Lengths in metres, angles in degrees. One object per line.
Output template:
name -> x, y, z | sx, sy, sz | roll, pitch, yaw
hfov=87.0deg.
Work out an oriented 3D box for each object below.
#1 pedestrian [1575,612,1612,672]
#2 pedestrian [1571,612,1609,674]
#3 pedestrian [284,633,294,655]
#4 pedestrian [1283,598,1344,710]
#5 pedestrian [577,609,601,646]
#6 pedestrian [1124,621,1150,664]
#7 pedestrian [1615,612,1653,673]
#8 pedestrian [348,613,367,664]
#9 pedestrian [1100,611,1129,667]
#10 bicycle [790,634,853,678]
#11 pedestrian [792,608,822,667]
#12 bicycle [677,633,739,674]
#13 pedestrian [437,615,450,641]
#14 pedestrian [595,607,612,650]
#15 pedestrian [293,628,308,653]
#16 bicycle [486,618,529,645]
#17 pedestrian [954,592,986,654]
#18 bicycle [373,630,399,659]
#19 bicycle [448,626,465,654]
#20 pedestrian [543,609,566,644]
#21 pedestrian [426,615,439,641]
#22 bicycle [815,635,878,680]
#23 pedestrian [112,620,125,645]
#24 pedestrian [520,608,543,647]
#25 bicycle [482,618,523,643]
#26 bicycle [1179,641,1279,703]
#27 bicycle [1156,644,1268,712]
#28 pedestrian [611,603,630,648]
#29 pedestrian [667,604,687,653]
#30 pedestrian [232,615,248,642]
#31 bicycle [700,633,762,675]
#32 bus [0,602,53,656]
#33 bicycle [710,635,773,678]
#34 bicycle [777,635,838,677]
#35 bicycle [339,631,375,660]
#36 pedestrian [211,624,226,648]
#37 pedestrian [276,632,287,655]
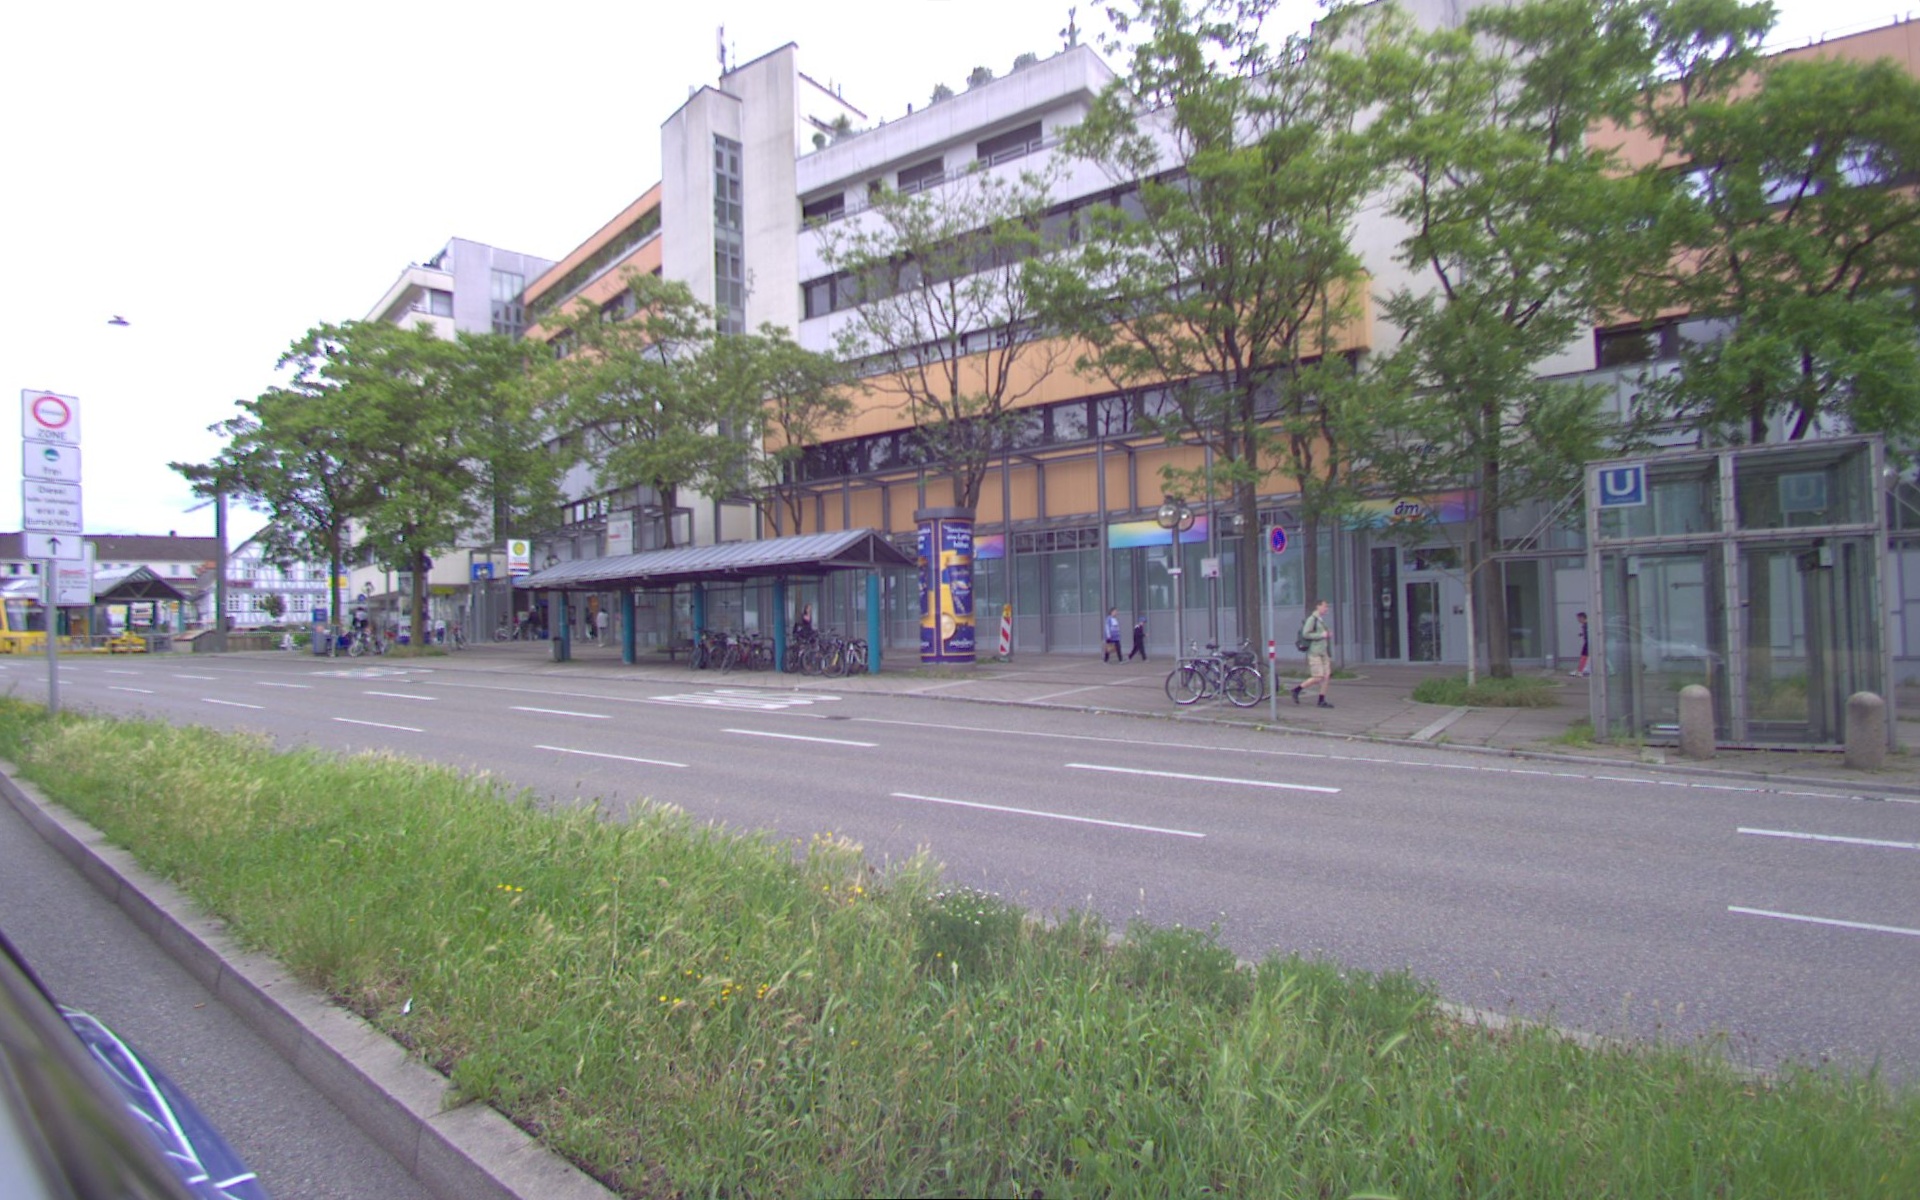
pedestrian -> 14.847, 0.970, 23.717 | 0.694, 1.385, 0.578 | -1, -2, 34
pedestrian -> 14.409, 0.976, 23.151 | 0.694, 1.385, 0.578 | -1, -2, 34
pedestrian -> -35.901, 2.360, 54.153 | 0.368, 1.188, 0.338 | -1, -2, 31
pedestrian -> 6.020, 0.903, 17.219 | 0.916, 1.846, 0.533 | -1, -2, 25
pedestrian -> -17.246, 1.258, 47.068 | 0.752, 1.695, 0.755 | -1, -2, 41
pedestrian -> 5.001, 1.193, 28.568 | 0.620, 1.190, 0.418 | -1, -2, 31
pedestrian -> 15.419, 0.962, 23.161 | 0.694, 1.385, 0.578 | -1, -2, 34
pedestrian -> -27.754, 1.749, 46.621 | 0.608, 2.325, 0.583 | -1, -2, 39
pedestrian -> 4.270, 1.080, 27.977 | 0.620, 1.515, 0.563 | -1, -2, 31
bicycle -> -3.620, 1.452, 26.600 | 0.549, 1.048, 1.714 | -2, 0, 38
pedestrian -> -4.800, 1.167, 31.724 | 0.769, 1.800, 0.525 | -1, -2, 33
bicycle -> -7.240, 1.528, 29.155 | 0.549, 1.048, 1.714 | -2, 0, 38
pedestrian -> -30.306, 1.635, 59.398 | 0.548, 1.506, 0.454 | 1, -2, -41
pedestrian -> -15.481, 1.234, 43.912 | 0.639, 1.823, 0.761 | 0, -2, -16
pedestrian -> -41.791, 2.568, 64.121 | 0.581, 1.554, 0.570 | -1, -2, 32
bicycle -> -24.956, 1.716, 55.793 | 2.107, 1.385, 0.621 | -1, 0, -31
pedestrian -> 0.327, 0.764, 33.736 | 0.791, 2.029, 0.703 | -1, 0, 31
bicycle -> -22.754, 1.747, 40.115 | 0.584, 1.085, 2.044 | 0, -1, -21
bicycle -> -21.359, 1.700, 42.935 | 0.584, 1.134, 2.044 | 1, -1, -26
pedestrian -> -19.684, 1.290, 49.114 | 0.752, 1.695, 0.755 | -1, -2, 41
pedestrian -> -30.772, 1.644, 59.058 | 0.548, 1.506, 0.454 | 1, -2, -41
bicycle -> -2.911, 1.468, 26.067 | 0.549, 1.048, 1.714 | -2, 0, 38
pedestrian -> -67.531, 2.586, 81.212 | 0.731, 2.029, 0.940 | 1, -2, -39
pedestrian -> -20.622, 1.313, 48.716 | 0.752, 1.859, 0.755 | -1, -2, 41
bicycle -> -26.105, 1.727, 57.772 | 2.106, 1.377, 0.621 | -1, 0, -24
bicycle -> 4.978, 1.307, 18.797 | 1.737, 1.074, 0.542 | -2, -1, 45
bicycle -> 4.361, 1.318, 17.605 | 0.802, 1.068, 1.739 | 0, -1, -40
pedestrian -> -15.267, 1.143, 45.509 | 0.558, 2.029, 0.611 | 1, -2, -44
pedestrian -> -12.012, 1.201, 42.943 | 0.558, 2.029, 0.611 | 1, -2, -44
pedestrian -> -54.433, 2.165, 76.512 | 0.867, 2.029, 1.010 | 1, -2, -44
bicycle -> -6.462, 1.506, 28.590 | 0.549, 1.048, 1.714 | -2, 1, 38
bus -> -55.990, 1.677, 58.619 | 8.470, 3.006, 2.530 | -1, -2, 29
bicycle -> -5.967, 1.523, 27.728 | 0.549, 1.048, 1.714 | -2, 1, 38
bicycle -> -4.145, 1.508, 27.567 | 0.549, 1.048, 1.714 | -2, -1, 38
bicycle -> -23.621, 1.759, 39.657 | 0.585, 1.085, 2.042 | 0, -1, -12
pedestrian -> -47.821, 2.336, 65.286 | 0.581, 1.554, 0.570 | -1, -2, 32
pedestrian -> -36.084, 2.305, 53.804 | 0.368, 1.188, 0.338 | -1, -2, 31
